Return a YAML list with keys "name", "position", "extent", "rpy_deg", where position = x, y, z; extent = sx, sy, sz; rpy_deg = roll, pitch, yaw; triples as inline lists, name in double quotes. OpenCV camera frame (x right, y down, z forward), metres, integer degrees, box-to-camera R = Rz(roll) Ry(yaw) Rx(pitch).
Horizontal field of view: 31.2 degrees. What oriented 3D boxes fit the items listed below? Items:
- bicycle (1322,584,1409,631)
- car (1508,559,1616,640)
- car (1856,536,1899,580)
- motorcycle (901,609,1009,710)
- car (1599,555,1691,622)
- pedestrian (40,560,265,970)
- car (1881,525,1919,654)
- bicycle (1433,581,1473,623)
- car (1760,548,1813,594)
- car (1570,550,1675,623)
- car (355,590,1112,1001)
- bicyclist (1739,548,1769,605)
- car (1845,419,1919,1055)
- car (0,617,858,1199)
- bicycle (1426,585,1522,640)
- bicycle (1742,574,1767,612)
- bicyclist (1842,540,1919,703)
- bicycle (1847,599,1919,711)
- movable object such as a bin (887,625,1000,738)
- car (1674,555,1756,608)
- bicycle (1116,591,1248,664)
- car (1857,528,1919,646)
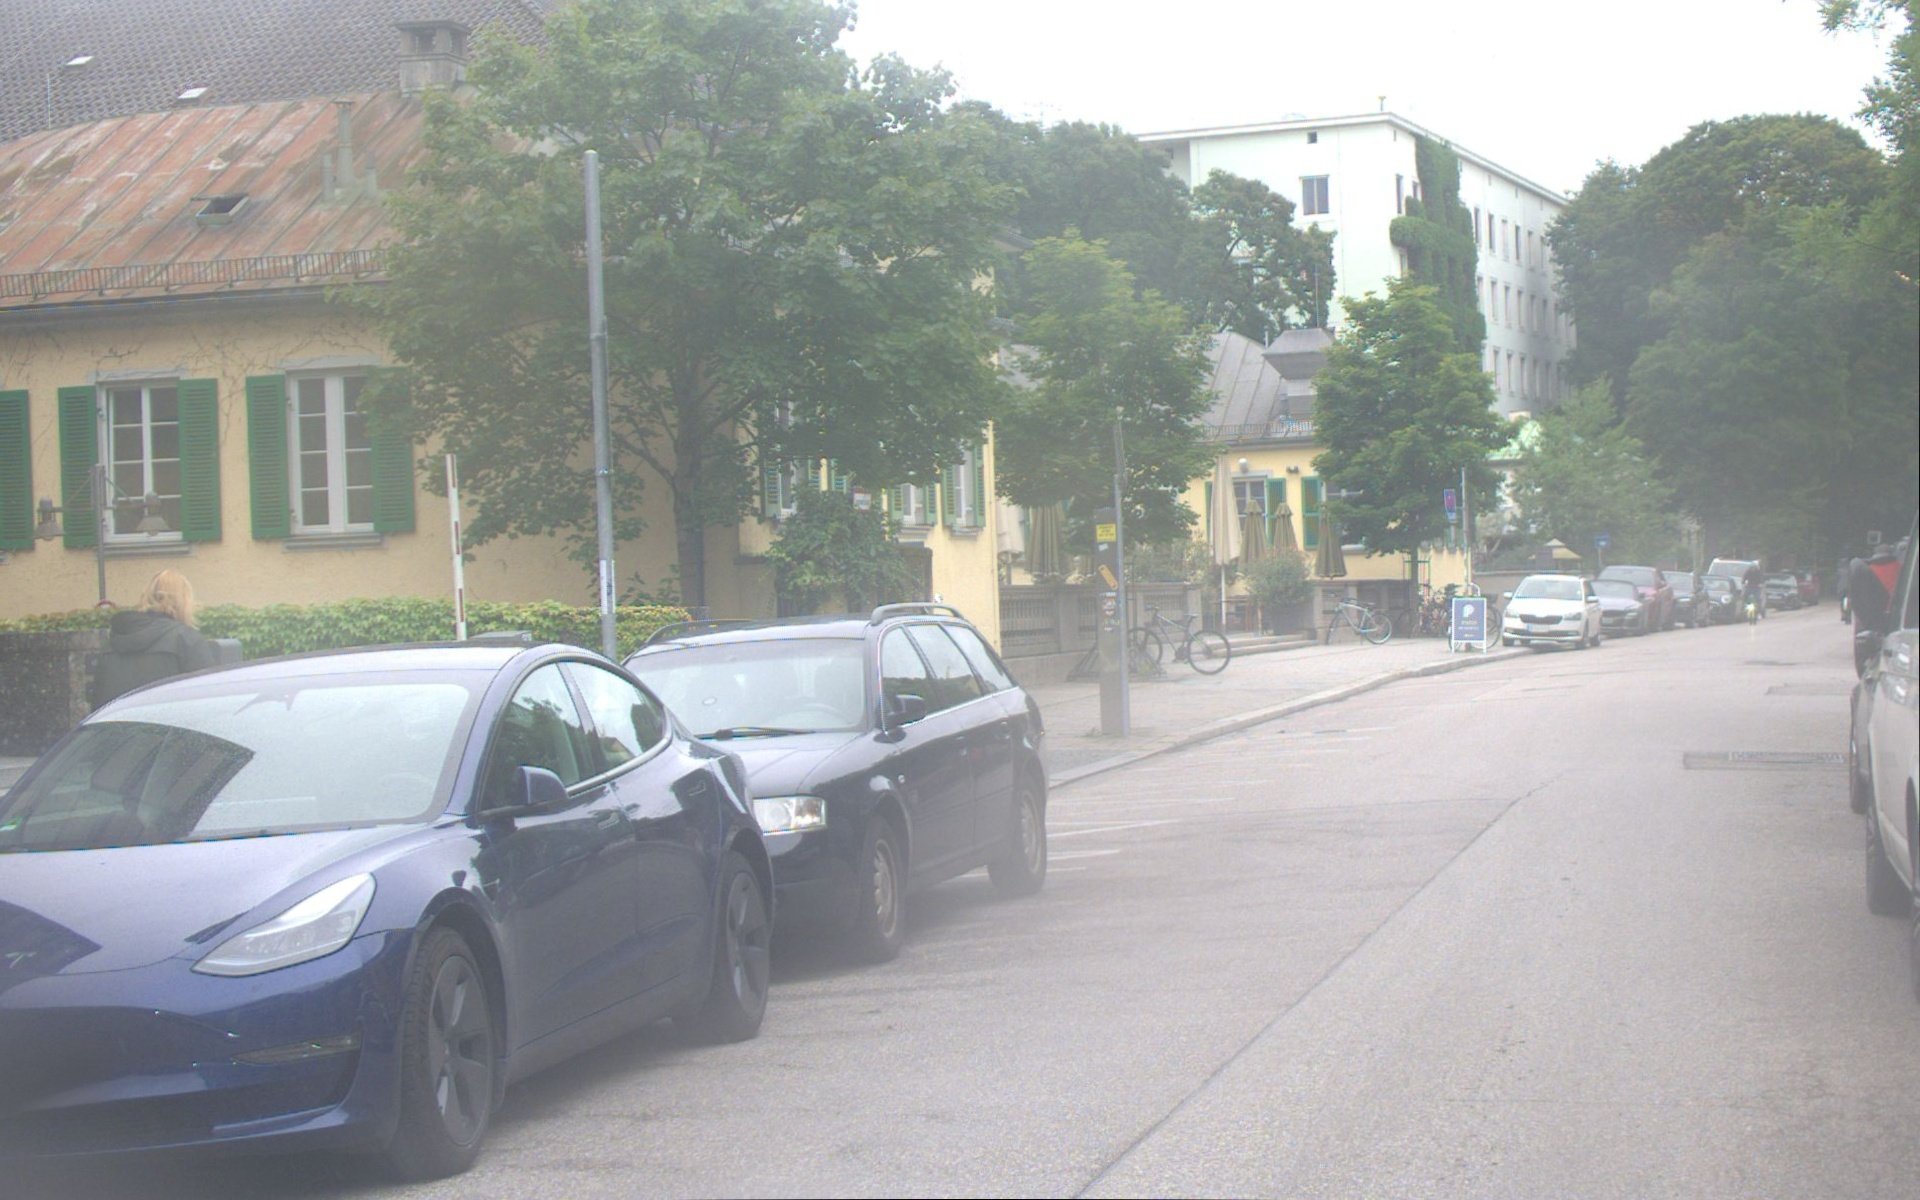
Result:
- name: "bicycle"
  position: [8.355, 0.156, 70.842]
  extent: [1.613, 0.922, 0.651]
  rpy_deg: [-2, -1, -11]
- name: "car"
  position: [12.326, -0.030, 70.272]
  extent: [1.735, 1.576, 3.784]
  rpy_deg: [1, 1, 17]
- name: "car"
  position: [45.298, -2.085, 169.713]
  extent: [1.995, 2.091, 3.997]
  rpy_deg: [1, 1, 16]
- name: "motorcycle"
  position: [-0.068, 0.667, 39.126]
  extent: [0.557, 1.097, 1.839]
  rpy_deg: [-1, 1, -23]
- name: "car"
  position: [17.446, -0.278, 87.447]
  extent: [1.995, 1.597, 3.997]
  rpy_deg: [-2, 0, 15]
- name: "pedestrian"
  position: [-3.583, 0.710, 15.319]
  extent: [0.753, 1.743, 0.953]
  rpy_deg: [-2, 0, -2]
- name: "car"
  position: [14.433, -0.192, 50.237]
  extent: [1.761, 1.817, 4.136]
  rpy_deg: [-1, 1, 14]
- name: "bicycle"
  position: [11.839, 0.052, 82.480]
  extent: [0.622, 1.001, 1.617]
  rpy_deg: [-1, -1, 19]
- name: "car"
  position: [32.271, -1.156, 134.152]
  extent: [1.811, 1.677, 3.997]
  rpy_deg: [-2, 0, 16]
- name: "car"
  position: [15.893, -0.337, 82.346]
  extent: [1.995, 1.643, 4.652]
  rpy_deg: [-2, 0, 16]
- name: "car"
  position: [-0.817, 0.780, 15.939]
  extent: [1.995, 1.486, 4.880]
  rpy_deg: [-4, 0, 14]
- name: "bicyclist"
  position: [22.364, -0.675, 96.809]
  extent: [0.743, 1.570, 0.976]
  rpy_deg: [-2, 0, 12]
- name: "car"
  position: [4.352, 0.390, 12.776]
  extent: [1.846, 1.926, 5.270]
  rpy_deg: [1, 1, 12]
- name: "car"
  position: [-1.875, 0.858, 10.784]
  extent: [1.924, 1.434, 4.915]
  rpy_deg: [-4, -1, 12]
- name: "bicycle"
  position: [9.905, 0.232, 66.235]
  extent: [2.134, 1.001, 0.623]
  rpy_deg: [-1, 2, -43]
- name: "bicycle"
  position: [22.367, -0.203, 96.824]
  extent: [0.622, 1.001, 2.139]
  rpy_deg: [-2, 0, 13]
- name: "bicyclist"
  position: [8.754, 0.209, 32.546]
  extent: [0.672, 1.492, 1.094]
  rpy_deg: [-2, -1, 17]
- name: "bicycle"
  position: [8.774, 0.512, 32.536]
  extent: [0.622, 1.001, 2.138]
  rpy_deg: [-2, -1, 16]
- name: "movable object such as a bin"
  position: [-0.156, 0.800, 33.927]
  extent: [0.935, 1.060, 0.840]
  rpy_deg: [-2, 1, 11]
- name: "car"
  position: [22.914, -0.565, 104.212]
  extent: [1.995, 1.481, 3.997]
  rpy_deg: [-2, 0, 18]
- name: "bicycle"
  position: [3.394, 0.411, 52.529]
  extent: [1.932, 1.095, 0.614]
  rpy_deg: [0, 1, 17]
- name: "car"
  position: [15.401, -0.255, 54.965]
  extent: [1.864, 1.788, 4.506]
  rpy_deg: [-2, 0, 16]
